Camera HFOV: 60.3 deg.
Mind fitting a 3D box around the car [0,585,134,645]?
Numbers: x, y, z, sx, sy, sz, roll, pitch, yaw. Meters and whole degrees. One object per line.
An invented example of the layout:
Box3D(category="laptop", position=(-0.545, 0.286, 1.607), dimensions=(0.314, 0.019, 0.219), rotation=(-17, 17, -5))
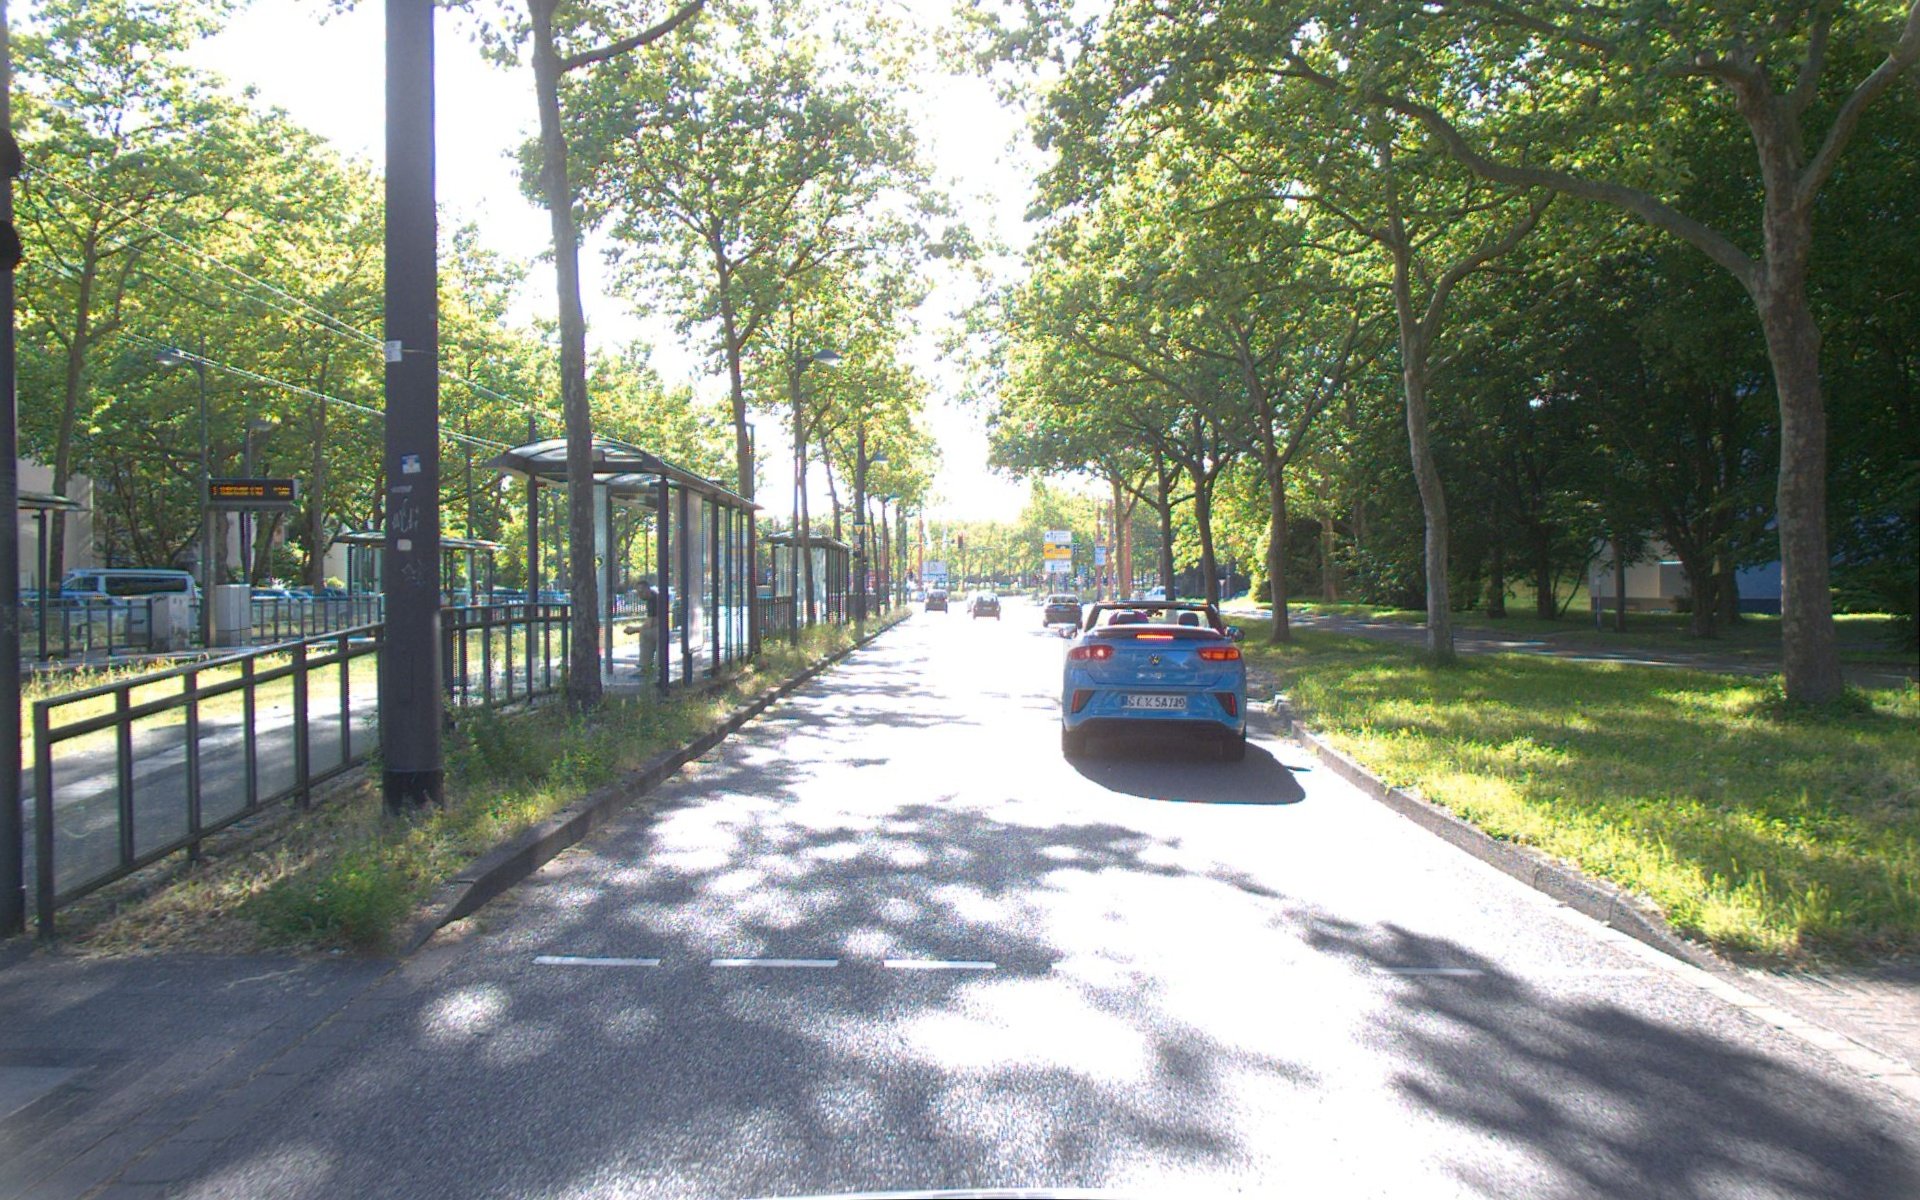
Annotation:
Box3D(category="car", position=(-24.787, 0.386, 44.256), dimensions=(4.464, 1.524, 1.870), rotation=(1, 1, -43))

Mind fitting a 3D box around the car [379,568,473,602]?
Box3D(category="car", position=(-25.218, -0.707, 78.192), dimensions=(3.960, 1.571, 1.621), rotation=(0, 1, -43))

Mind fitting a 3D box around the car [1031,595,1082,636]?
Box3D(category="car", position=(4.404, 0.691, 75.966), dimensions=(1.941, 1.823, 4.613), rotation=(1, 0, -1))

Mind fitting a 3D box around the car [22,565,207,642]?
Box3D(category="car", position=(-24.424, 0.112, 47.837), dimensions=(4.457, 2.099, 1.873), rotation=(1, 1, -40))

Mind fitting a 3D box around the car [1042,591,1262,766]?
Box3D(category="car", position=(1.836, 0.696, 16.958), dimensions=(1.739, 1.509, 4.100), rotation=(2, 0, 0))

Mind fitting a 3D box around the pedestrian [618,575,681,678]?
Box3D(category="pedestrian", position=(-3.933, 0.335, 20.997), dimensions=(0.719, 1.274, 0.587), rotation=(1, 0, -7))

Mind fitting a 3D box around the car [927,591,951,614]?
Box3D(category="car", position=(-1.512, 0.172, 117.476), dimensions=(1.676, 1.631, 3.349), rotation=(1, 0, -2))

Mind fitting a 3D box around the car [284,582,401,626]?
Box3D(category="car", position=(-23.995, 0.134, 64.361), dimensions=(1.547, 1.596, 4.038), rotation=(3, 2, 40))

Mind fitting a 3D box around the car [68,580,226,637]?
Box3D(category="car", position=(-24.819, 0.234, 50.568), dimensions=(1.662, 1.638, 4.030), rotation=(2, 1, 45))

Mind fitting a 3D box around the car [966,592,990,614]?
Box3D(category="car", position=(1.285, 0.191, 118.156), dimensions=(1.644, 1.500, 4.130), rotation=(1, 0, 0))

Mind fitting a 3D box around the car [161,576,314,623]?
Box3D(category="car", position=(-24.892, -0.019, 57.102), dimensions=(1.865, 1.530, 4.476), rotation=(2, 1, 40))

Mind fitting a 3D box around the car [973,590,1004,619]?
Box3D(category="car", position=(1.611, 0.243, 95.153), dimensions=(1.606, 1.520, 3.502), rotation=(1, 1, -2))

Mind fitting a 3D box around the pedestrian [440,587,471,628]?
Box3D(category="pedestrian", position=(-14.939, 0.221, 48.984), dimensions=(0.680, 1.147, 0.662), rotation=(-3, 0, 0))
